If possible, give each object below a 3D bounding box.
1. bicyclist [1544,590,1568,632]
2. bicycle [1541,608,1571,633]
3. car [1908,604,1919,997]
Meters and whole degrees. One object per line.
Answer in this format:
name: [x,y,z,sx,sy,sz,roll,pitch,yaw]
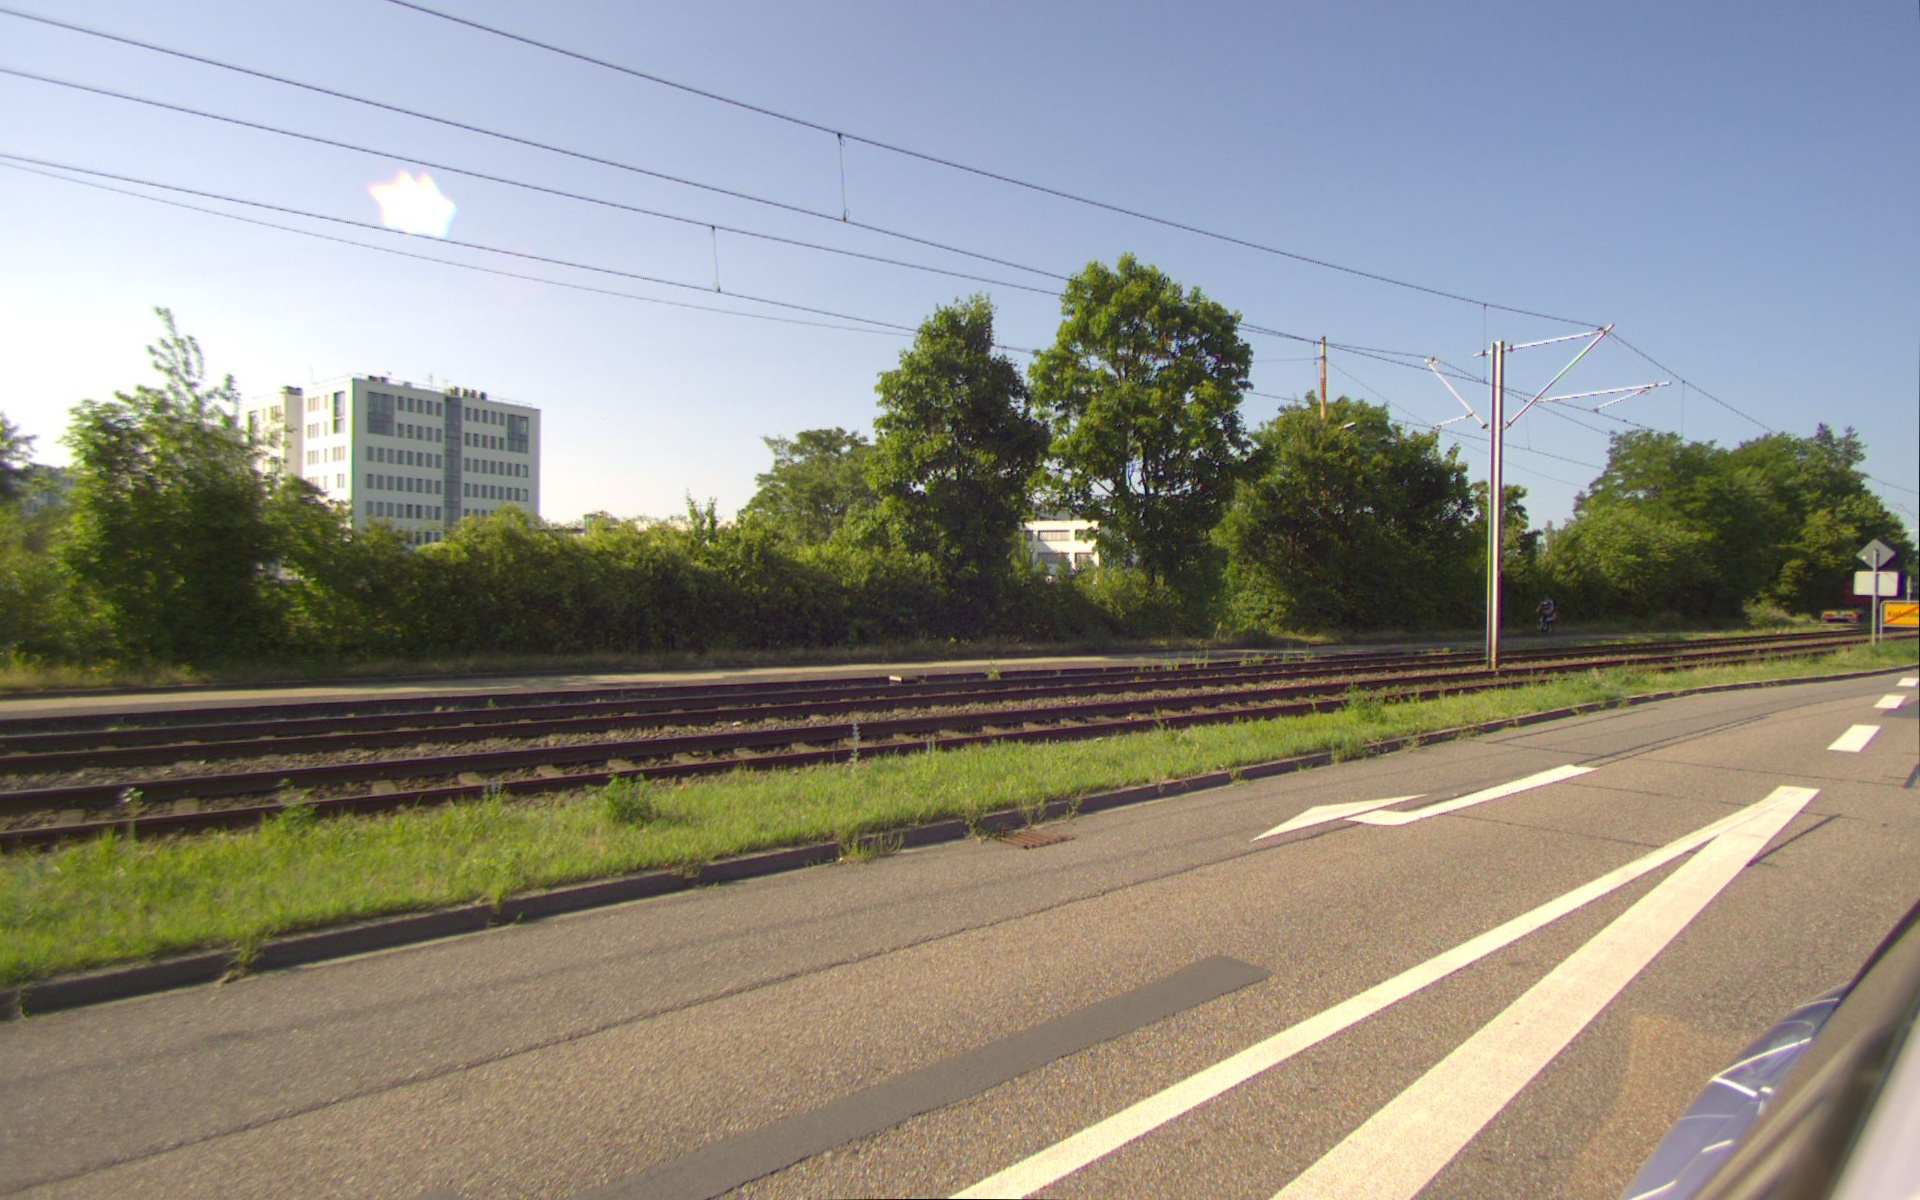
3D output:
bicyclist: [26.196,0.473,44.456,0.705,1.830,0.707,0,0,-39]
bicycle: [26.178,0.878,44.456,1.840,1.060,0.546,0,1,-40]
car: [5.748,0.733,4.486,4.383,1.442,1.819,0,0,-41]
